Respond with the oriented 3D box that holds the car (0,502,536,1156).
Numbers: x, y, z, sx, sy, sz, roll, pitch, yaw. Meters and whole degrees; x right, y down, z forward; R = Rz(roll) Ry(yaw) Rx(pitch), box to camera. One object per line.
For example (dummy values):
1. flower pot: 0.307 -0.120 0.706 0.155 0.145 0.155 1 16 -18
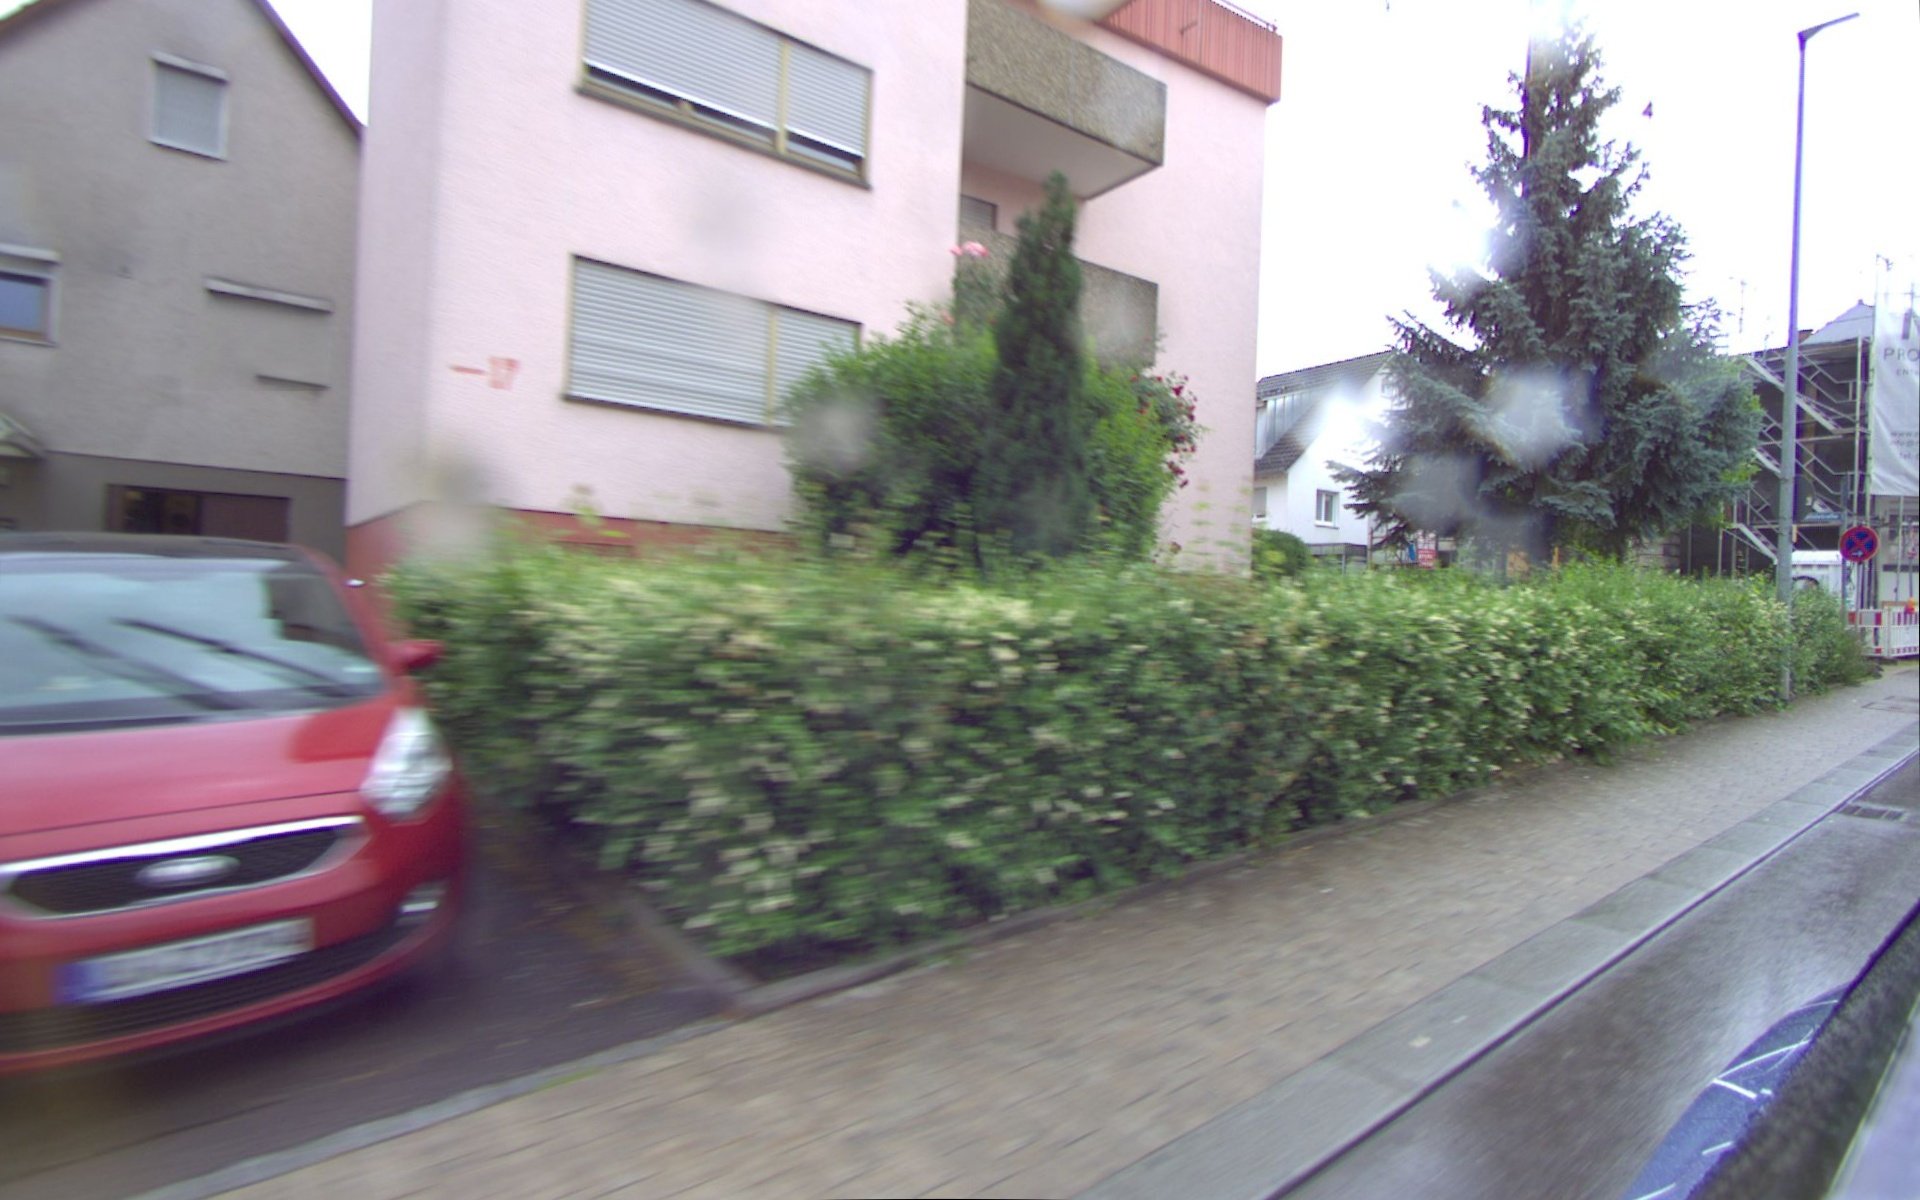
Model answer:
1. car: -3.366 0.452 4.242 1.765 1.586 4.119 0 3 -40
